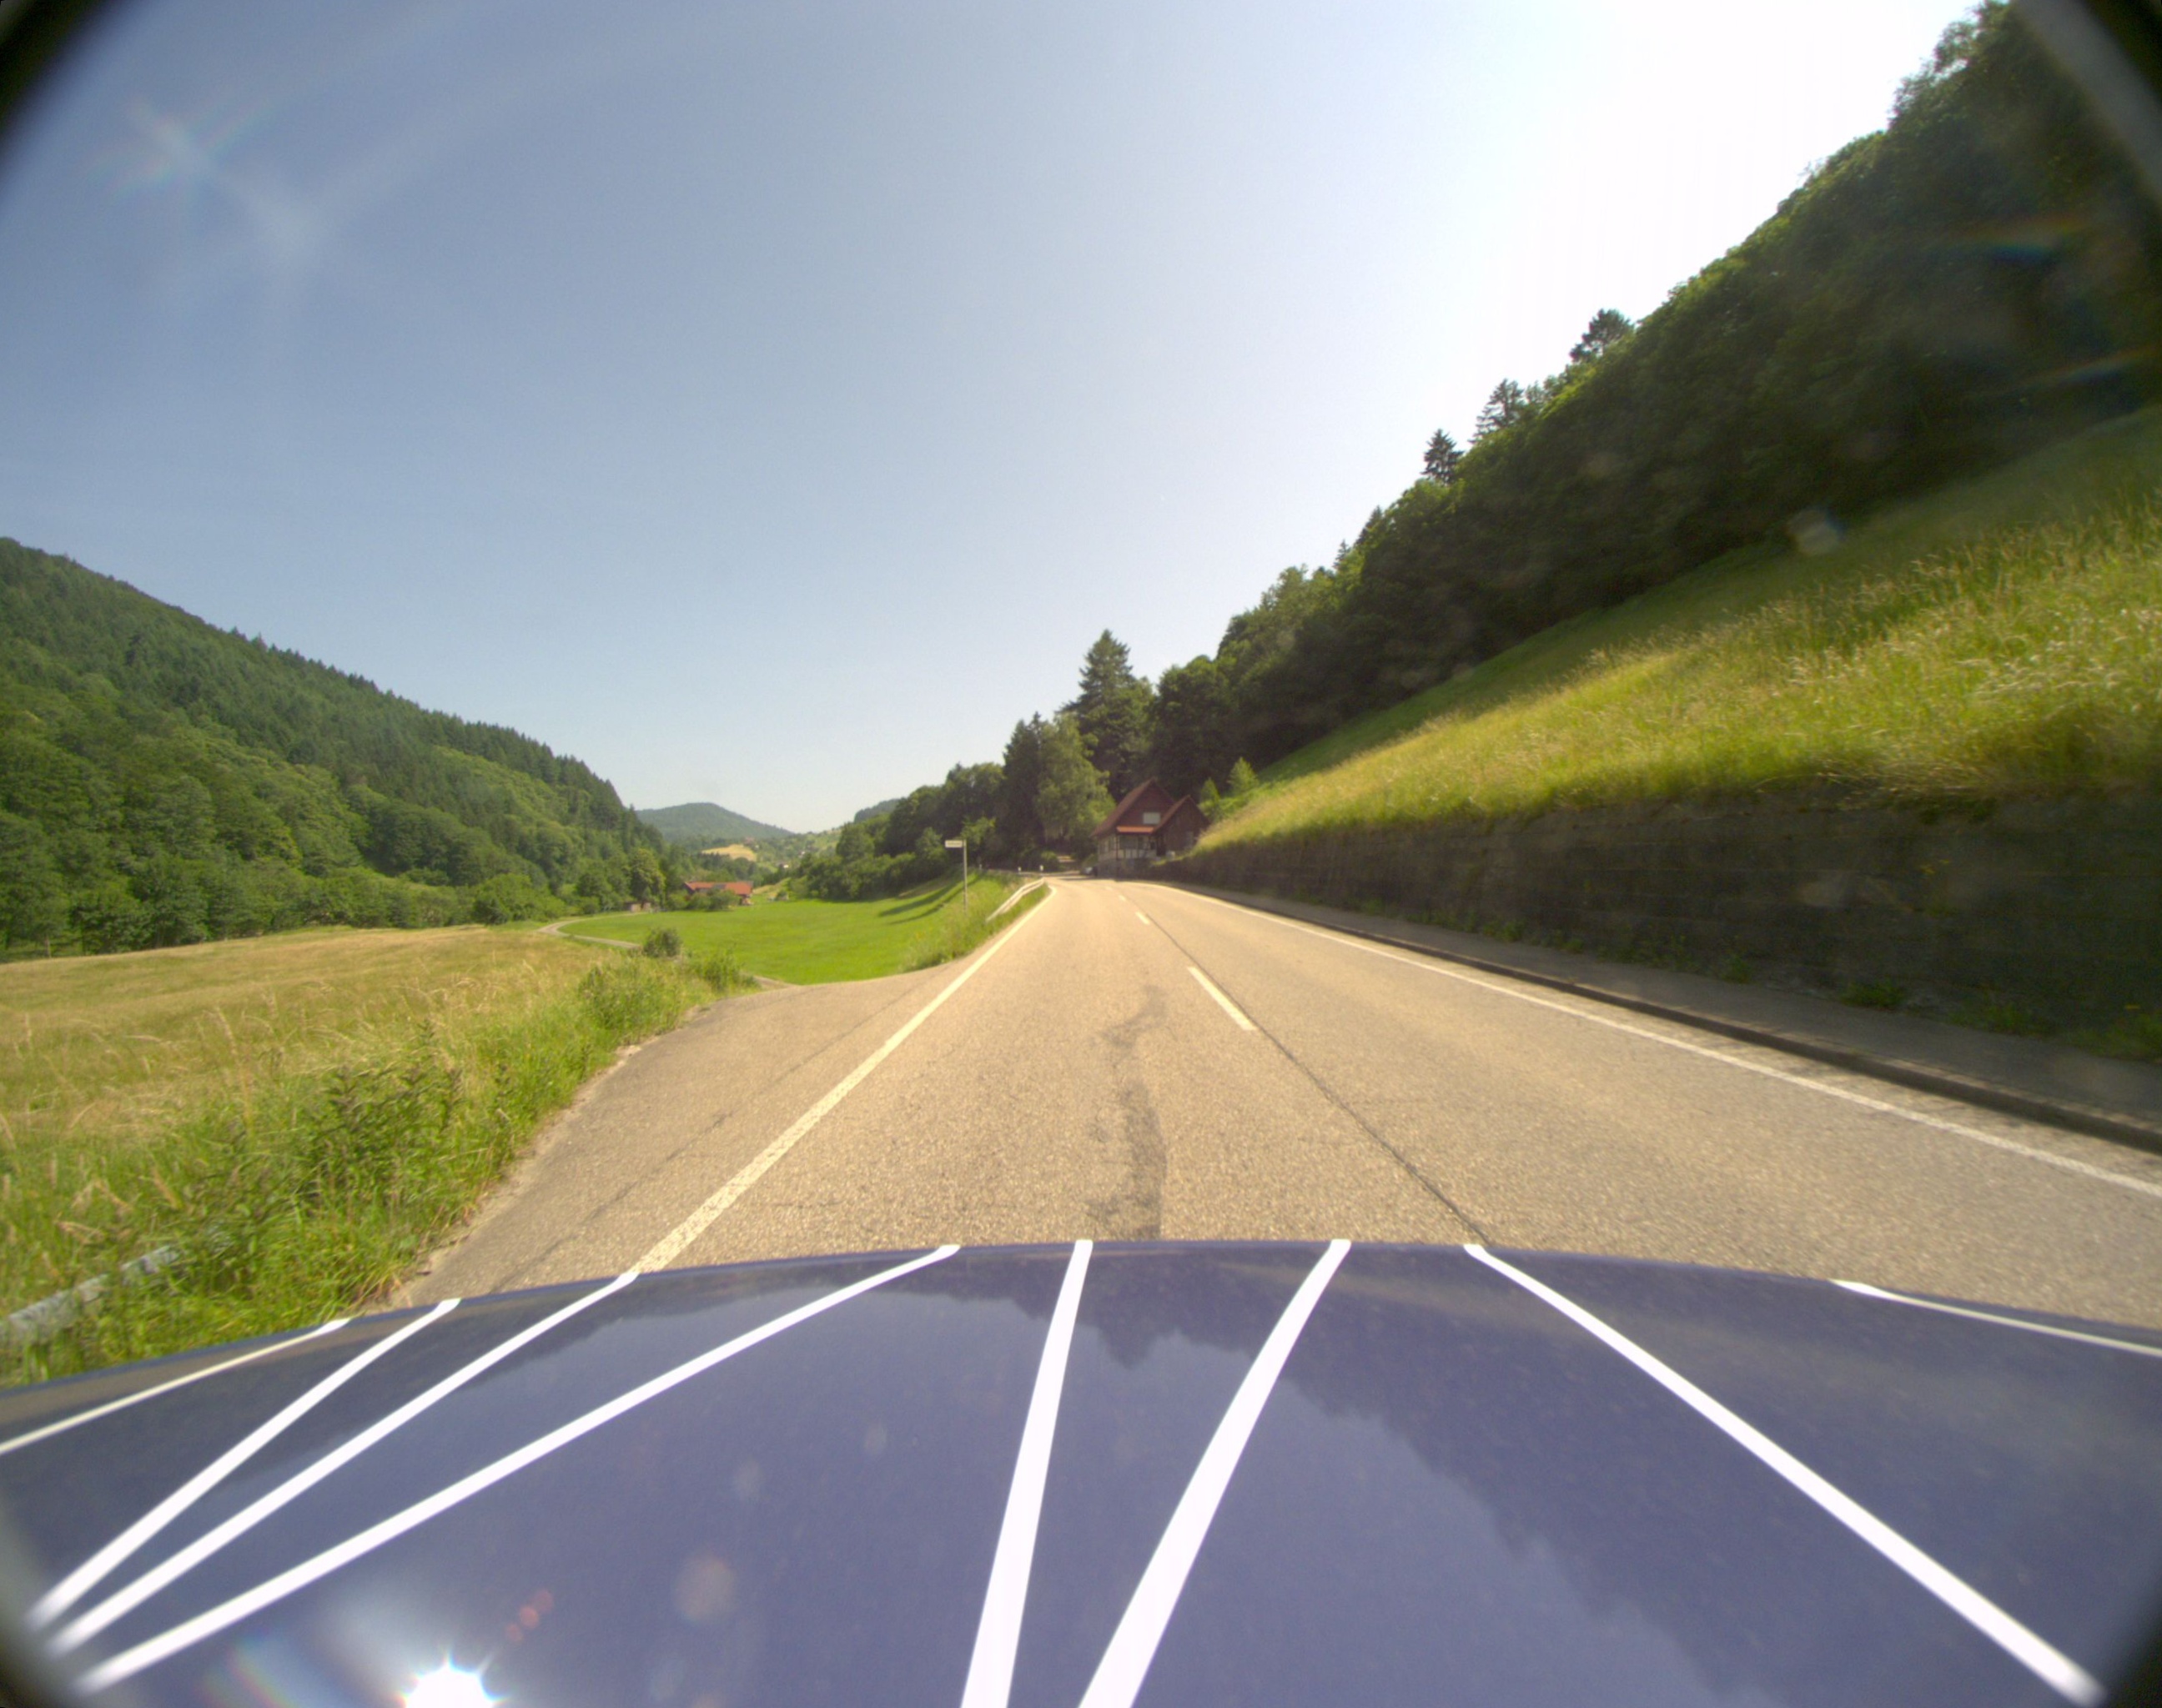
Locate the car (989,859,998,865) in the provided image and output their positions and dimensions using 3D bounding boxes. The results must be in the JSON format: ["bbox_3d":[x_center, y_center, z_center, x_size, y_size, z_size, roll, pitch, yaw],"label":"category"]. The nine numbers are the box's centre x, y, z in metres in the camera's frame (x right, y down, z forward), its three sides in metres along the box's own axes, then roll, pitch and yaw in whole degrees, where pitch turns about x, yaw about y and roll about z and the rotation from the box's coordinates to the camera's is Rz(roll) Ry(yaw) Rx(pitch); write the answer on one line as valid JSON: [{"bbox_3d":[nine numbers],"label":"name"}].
[{"bbox_3d":[-23.044,2.087,199.753,1.771,1.388,4.138,-2,1,-17],"label":"car"}]

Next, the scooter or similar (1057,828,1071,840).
[{"bbox_3d":[-3.110,-3.628,137.540,1.983,2.015,4.402,-5,1,-6],"label":"scooter or similar"}]

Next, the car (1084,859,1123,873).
[{"bbox_3d":[2.430,1.319,82.770,3.830,1.408,1.855,-1,-1,-14],"label":"car"}]

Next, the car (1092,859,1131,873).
[{"bbox_3d":[3.226,1.242,80.682,3.830,1.424,1.861,0,1,-13],"label":"car"}]
